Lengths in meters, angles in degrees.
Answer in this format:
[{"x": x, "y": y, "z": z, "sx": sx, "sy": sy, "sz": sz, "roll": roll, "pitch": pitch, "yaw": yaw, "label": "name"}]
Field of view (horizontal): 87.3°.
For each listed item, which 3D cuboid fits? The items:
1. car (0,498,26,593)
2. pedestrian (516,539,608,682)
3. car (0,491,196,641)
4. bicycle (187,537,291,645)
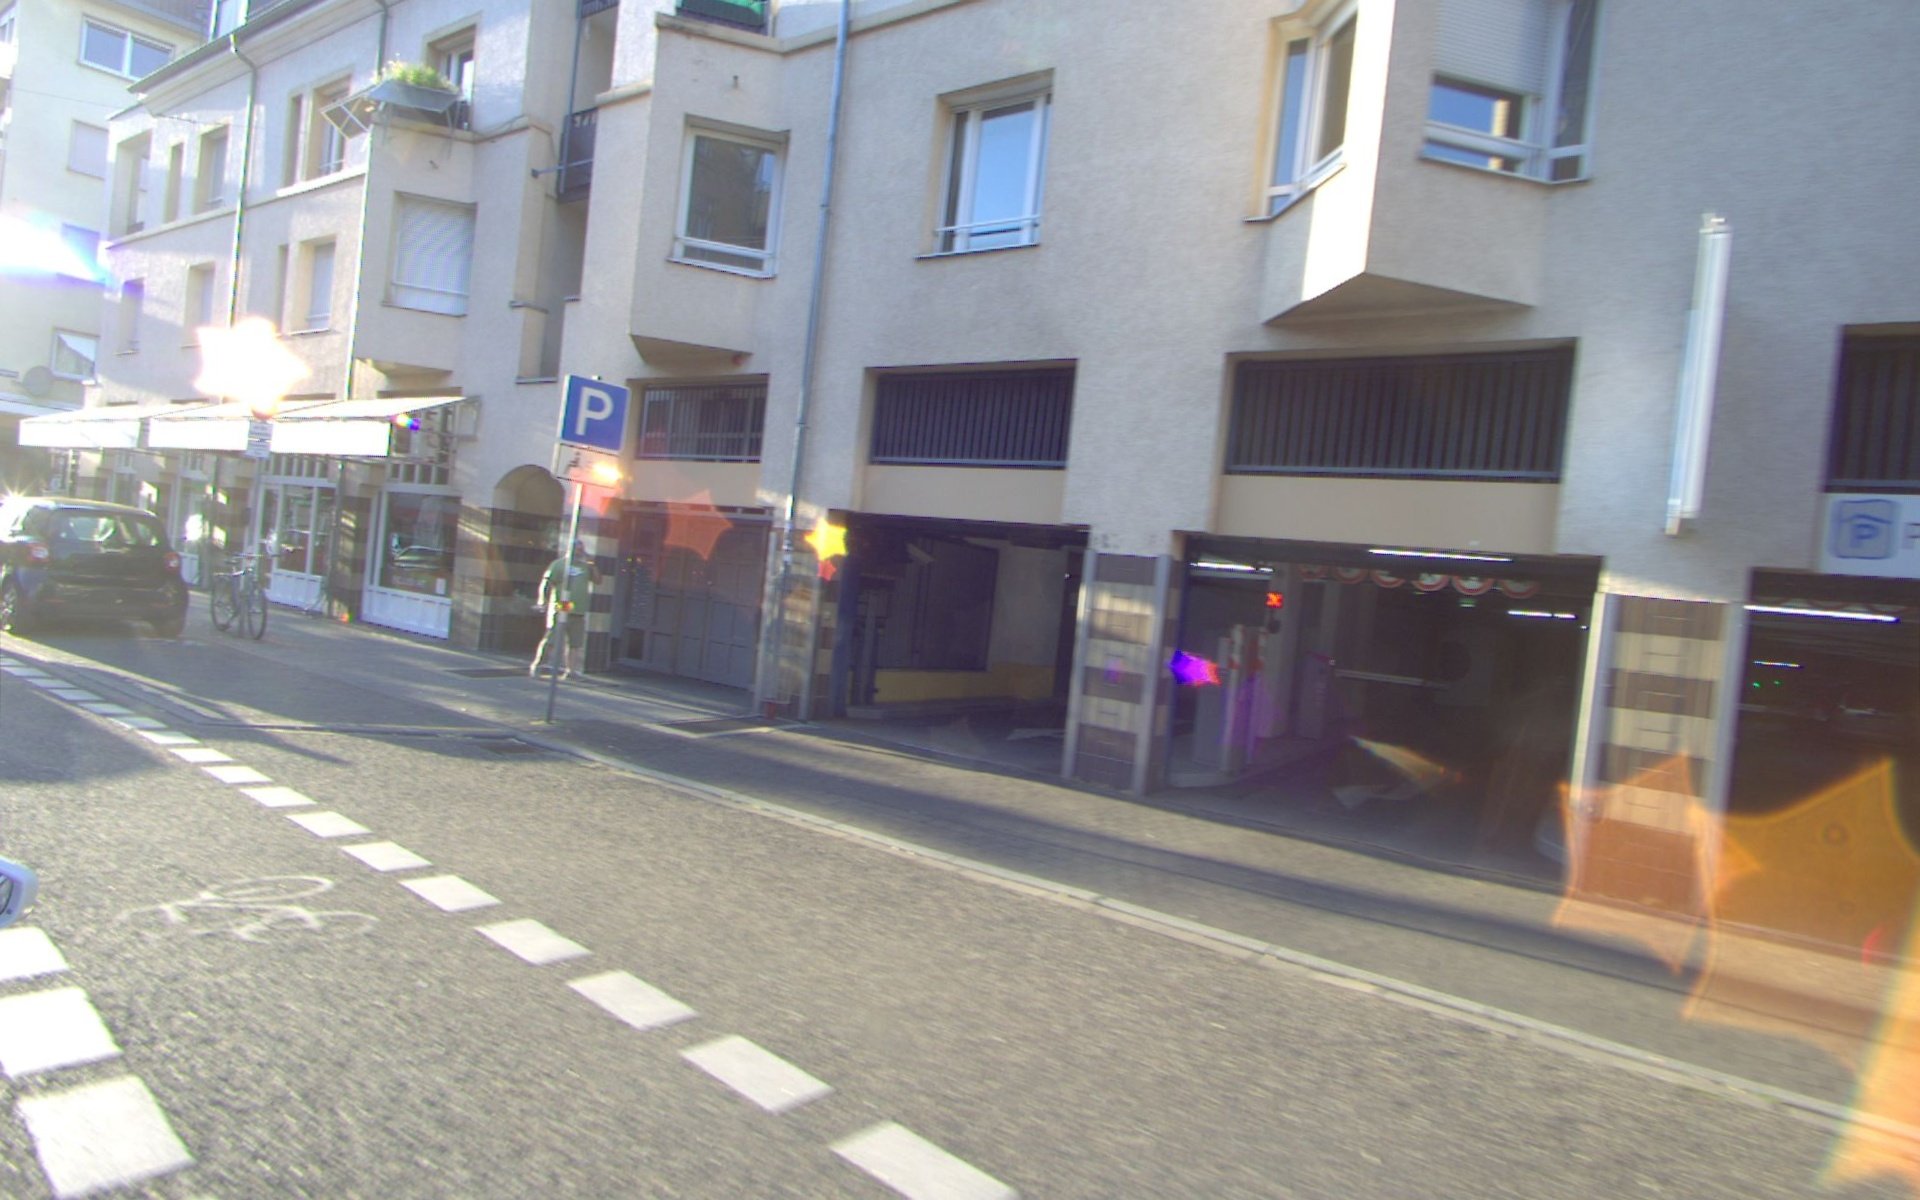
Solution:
[{"x": -16.633, "y": -1.046, "z": 16.079, "sx": 3.697, "sy": 1.442, "sz": 1.634, "roll": 6, "pitch": 1, "yaw": 34, "label": "car"}, {"x": -4.863, "y": 0.136, "z": 12.283, "sx": 0.806, "sy": 1.669, "sz": 0.599, "roll": 3, "pitch": 3, "yaw": -40, "label": "pedestrian"}, {"x": -10.990, "y": -0.452, "z": 12.370, "sx": 2.650, "sy": 1.573, "sz": 1.634, "roll": 7, "pitch": 1, "yaw": 32, "label": "car"}, {"x": -9.594, "y": -0.131, "z": 13.363, "sx": 1.795, "sy": 1.250, "sz": 0.397, "roll": 7, "pitch": 2, "yaw": 32, "label": "bicycle"}]
